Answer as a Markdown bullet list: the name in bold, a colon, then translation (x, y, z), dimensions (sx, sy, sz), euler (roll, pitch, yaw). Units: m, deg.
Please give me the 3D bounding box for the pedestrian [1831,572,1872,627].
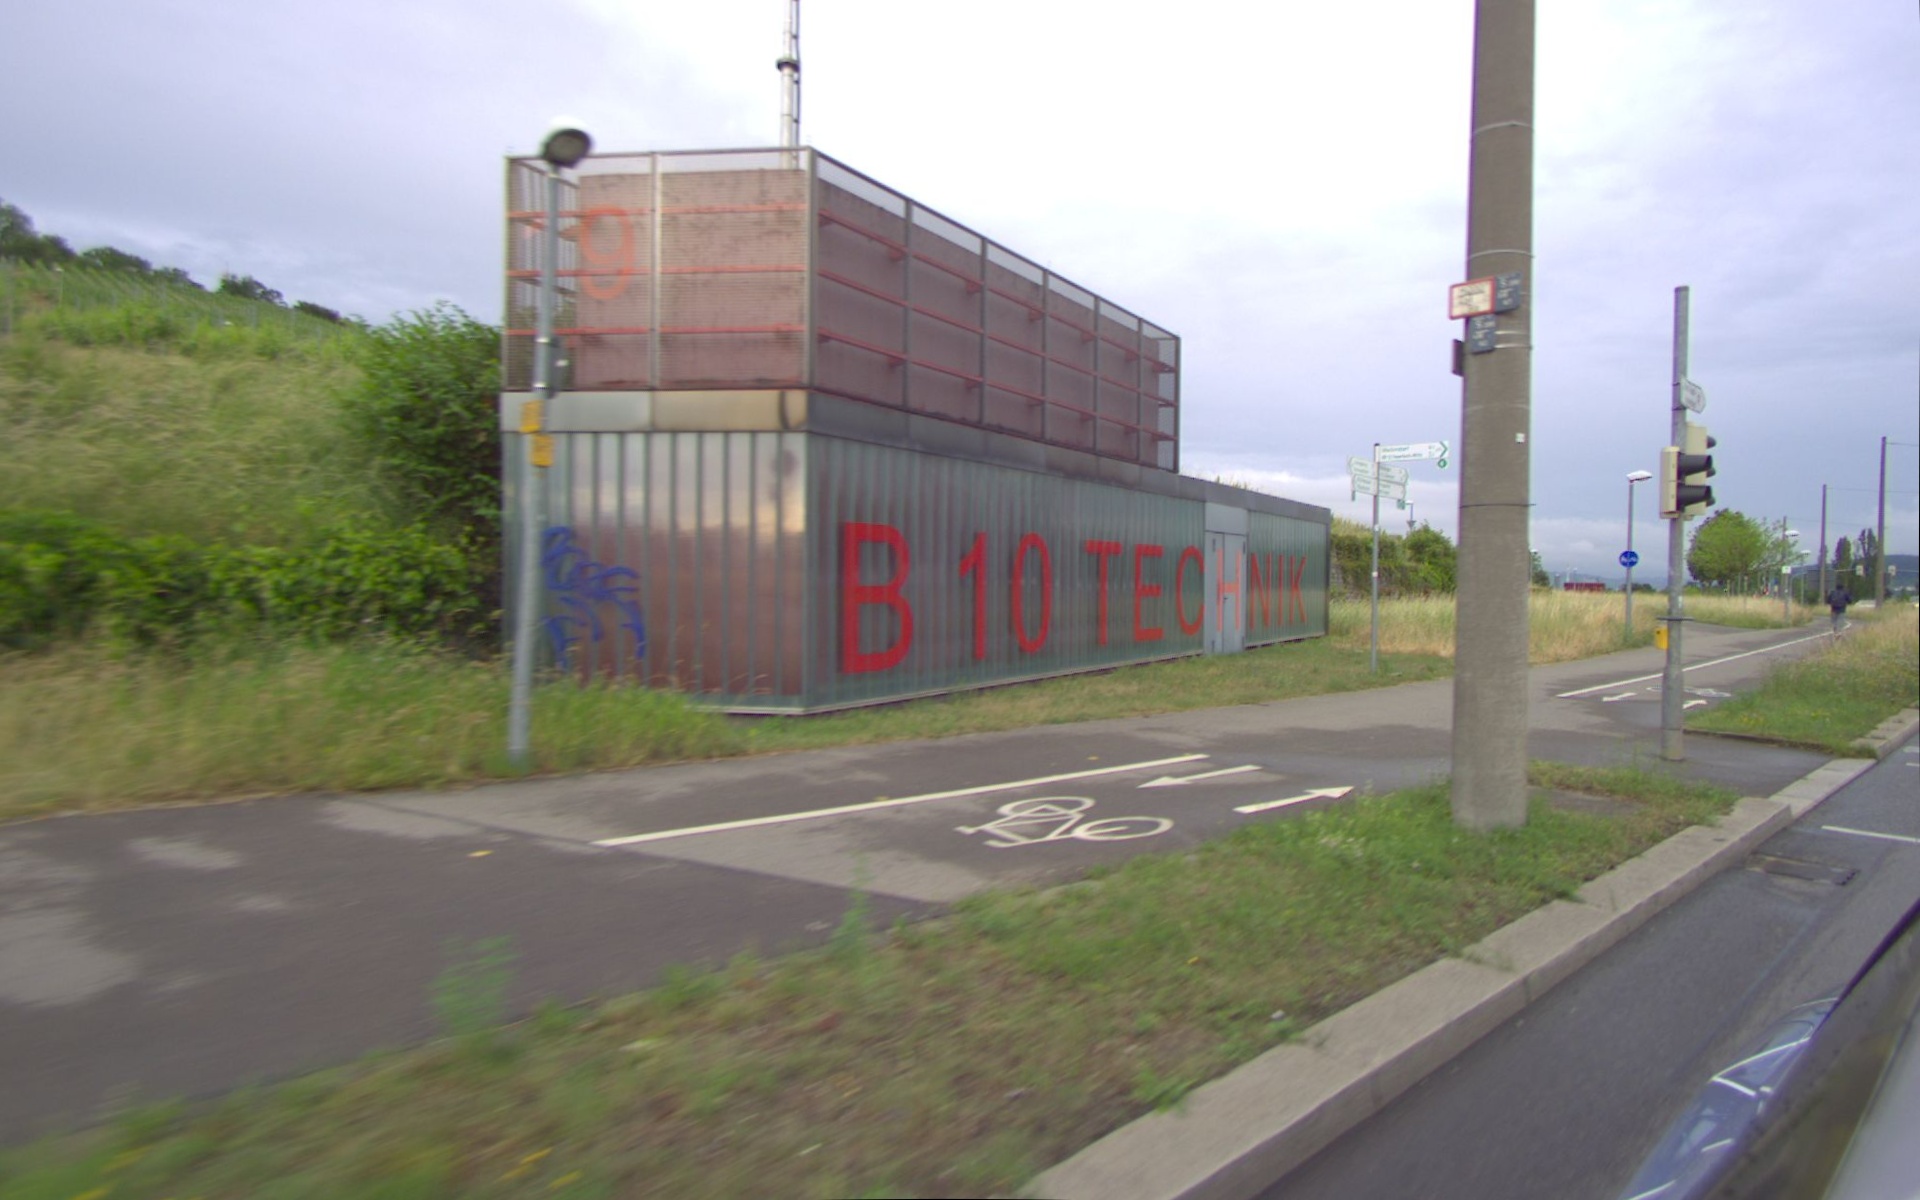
- **pedestrian**: translation (28.591, -0.015, 32.471), dimensions (0.794, 1.745, 0.977), euler (-1, -1, 33)
